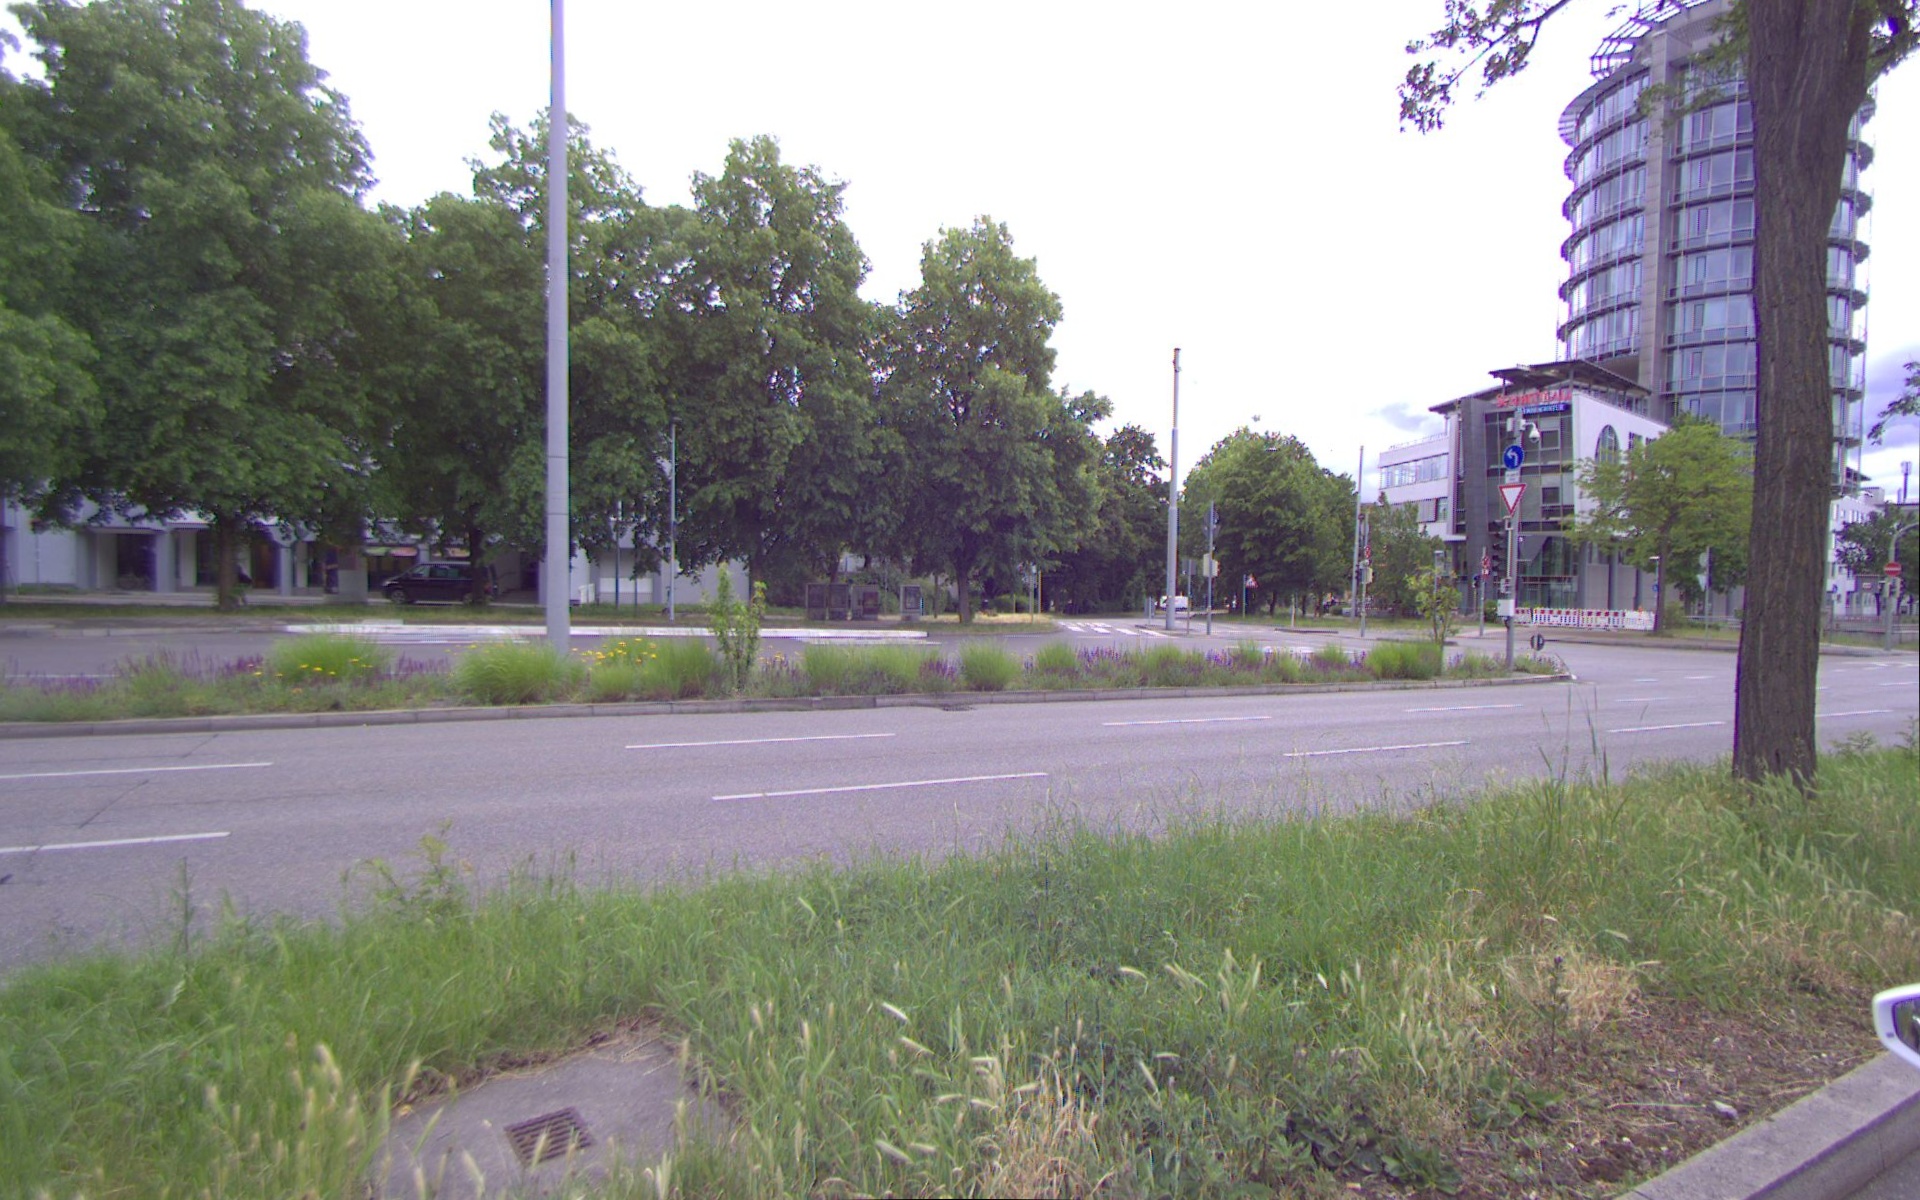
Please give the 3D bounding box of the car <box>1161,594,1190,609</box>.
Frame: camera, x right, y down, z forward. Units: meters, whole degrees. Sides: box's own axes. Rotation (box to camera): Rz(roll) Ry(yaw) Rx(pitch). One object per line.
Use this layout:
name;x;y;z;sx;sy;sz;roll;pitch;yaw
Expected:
car;37.725;0.239;175.674;4.475;2.370;1.994;2;0;-16

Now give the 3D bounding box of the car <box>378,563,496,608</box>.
car;-23.318;-0.640;44.948;4.345;1.872;1.781;1;1;-16

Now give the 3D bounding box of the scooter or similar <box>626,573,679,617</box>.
scooter or similar;-11.871;-0.185;38.850;1.835;1.686;0.645;1;1;-43

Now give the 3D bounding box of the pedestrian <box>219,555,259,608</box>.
pedestrian;-22.007;-0.546;30.679;0.894;1.578;0.766;1;1;-30

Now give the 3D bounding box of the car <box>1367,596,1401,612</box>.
car;25.040;0.232;59.393;1.684;0.888;0.776;1;0;7
